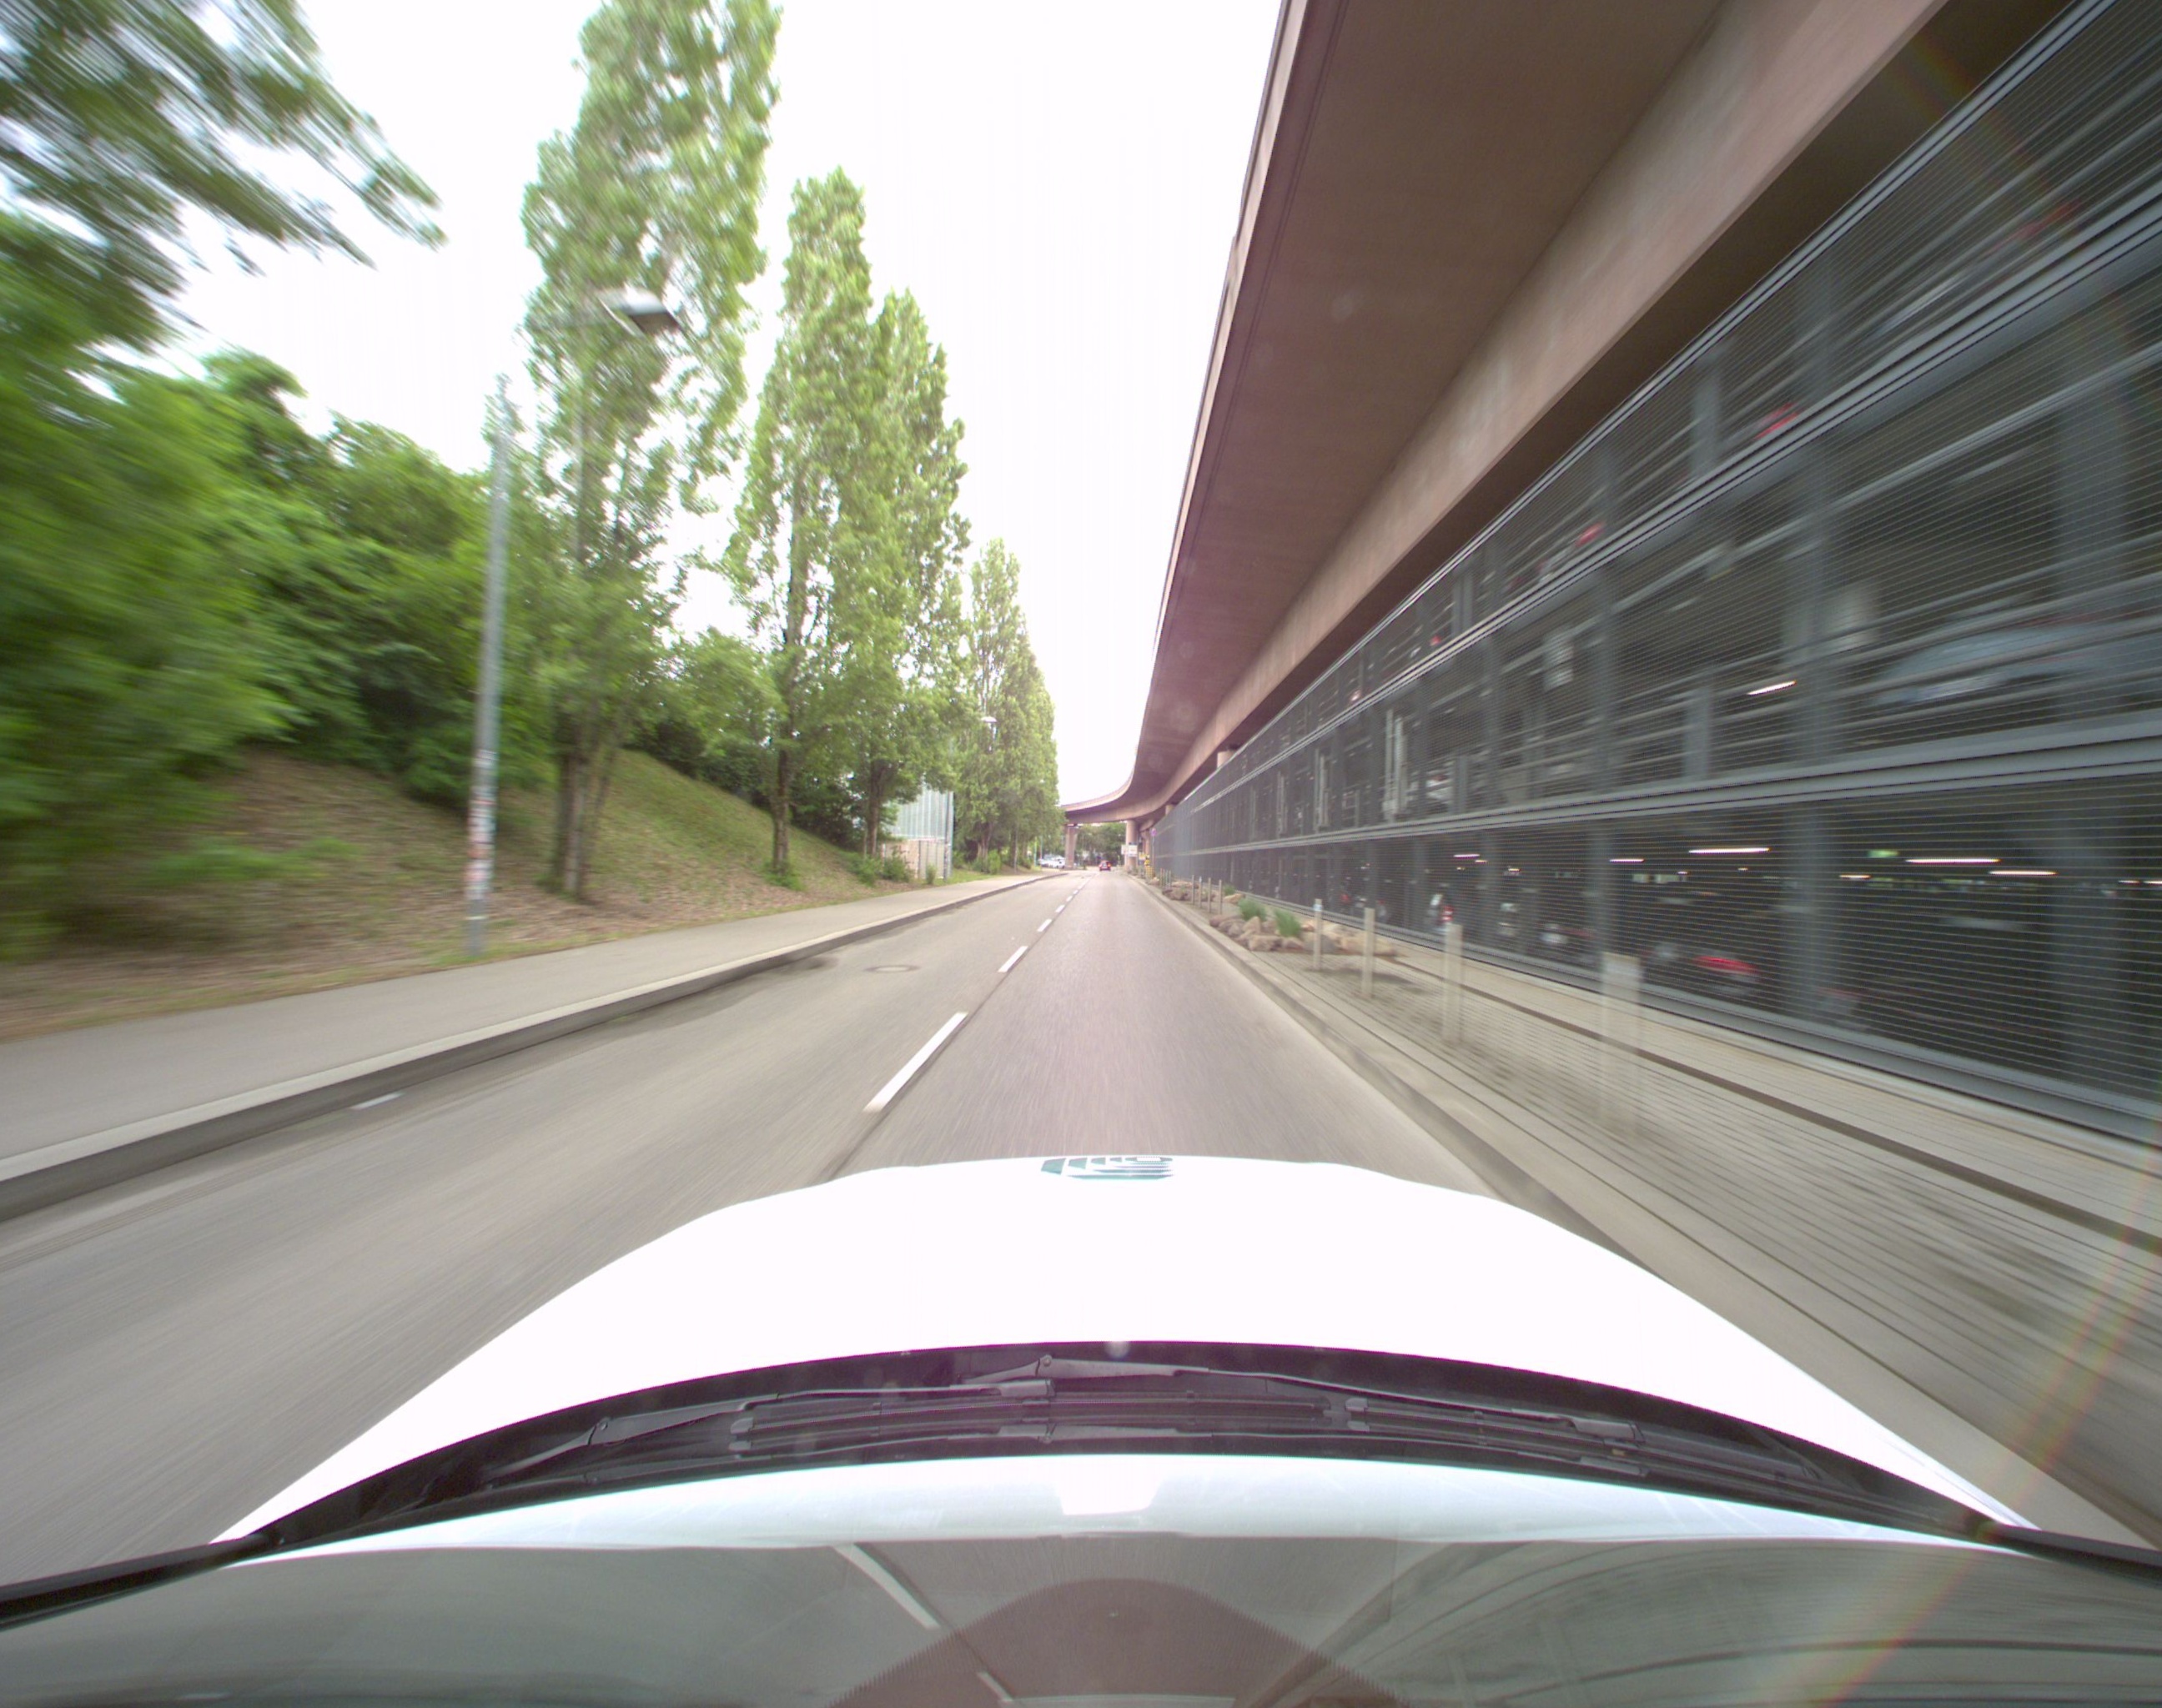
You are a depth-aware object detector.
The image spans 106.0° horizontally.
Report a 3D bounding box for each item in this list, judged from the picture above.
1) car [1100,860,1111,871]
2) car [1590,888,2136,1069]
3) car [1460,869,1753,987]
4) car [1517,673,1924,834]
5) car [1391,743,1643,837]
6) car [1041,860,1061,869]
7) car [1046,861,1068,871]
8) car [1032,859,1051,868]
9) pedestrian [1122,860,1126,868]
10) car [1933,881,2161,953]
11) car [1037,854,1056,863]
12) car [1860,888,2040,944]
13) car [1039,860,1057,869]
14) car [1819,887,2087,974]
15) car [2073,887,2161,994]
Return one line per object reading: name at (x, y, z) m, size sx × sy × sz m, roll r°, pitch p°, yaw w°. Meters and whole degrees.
car at (4.196, 1.926, 138.637) m, size 1.832 × 1.711 × 3.708 m, roll 1°, pitch 1°, yaw 2°
car at (7.933, 1.205, 8.589) m, size 3.972 × 1.466 × 1.811 m, roll 2°, pitch 0°, yaw 1°
car at (8.401, 1.133, 13.265) m, size 3.628 × 1.619 × 1.726 m, roll 2°, pitch 0°, yaw 1°
car at (8.257, -1.252, 10.808) m, size 3.971 × 1.867 × 1.732 m, roll 1°, pitch 1°, yaw 2°
car at (8.433, -1.221, 16.055) m, size 3.969 × 1.657 × 1.834 m, roll 1°, pitch 1°, yaw 4°
car at (-6.025, 2.188, 163.920) m, size 1.704 × 1.716 × 3.694 m, roll 2°, pitch 1°, yaw 43°
car at (-4.616, 2.347, 159.617) m, size 1.862 × 1.716 × 4.178 m, roll 2°, pitch 1°, yaw 43°
car at (-8.282, 2.004, 170.848) m, size 1.785 × 1.716 × 3.694 m, roll 2°, pitch 1°, yaw 43°
pedestrian at (11.085, 2.591, 209.051) m, size 0.774 × 1.876 × 0.817 m, roll 1°, pitch 1°, yaw -29°
car at (24.080, 1.534, 20.357) m, size 3.628 × 1.537 × 1.823 m, roll 2°, pitch 0°, yaw 1°
car at (-8.119, 1.104, 192.105) m, size 4.200 × 2.014 × 2.000 m, roll 2°, pitch 0°, yaw 0°
car at (24.552, 1.735, 23.087) m, size 3.454 × 1.315 × 1.511 m, roll 2°, pitch 0°, yaw 1°
car at (-6.805, 2.121, 167.489) m, size 1.704 × 1.716 × 3.694 m, roll 2°, pitch 1°, yaw 43°
car at (19.218, 1.647, 18.091) m, size 3.971 × 1.615 × 1.723 m, roll 2°, pitch 0°, yaw 2°
car at (18.901, 1.445, 12.936) m, size 3.972 × 1.615 × 1.835 m, roll 2°, pitch 0°, yaw 1°
